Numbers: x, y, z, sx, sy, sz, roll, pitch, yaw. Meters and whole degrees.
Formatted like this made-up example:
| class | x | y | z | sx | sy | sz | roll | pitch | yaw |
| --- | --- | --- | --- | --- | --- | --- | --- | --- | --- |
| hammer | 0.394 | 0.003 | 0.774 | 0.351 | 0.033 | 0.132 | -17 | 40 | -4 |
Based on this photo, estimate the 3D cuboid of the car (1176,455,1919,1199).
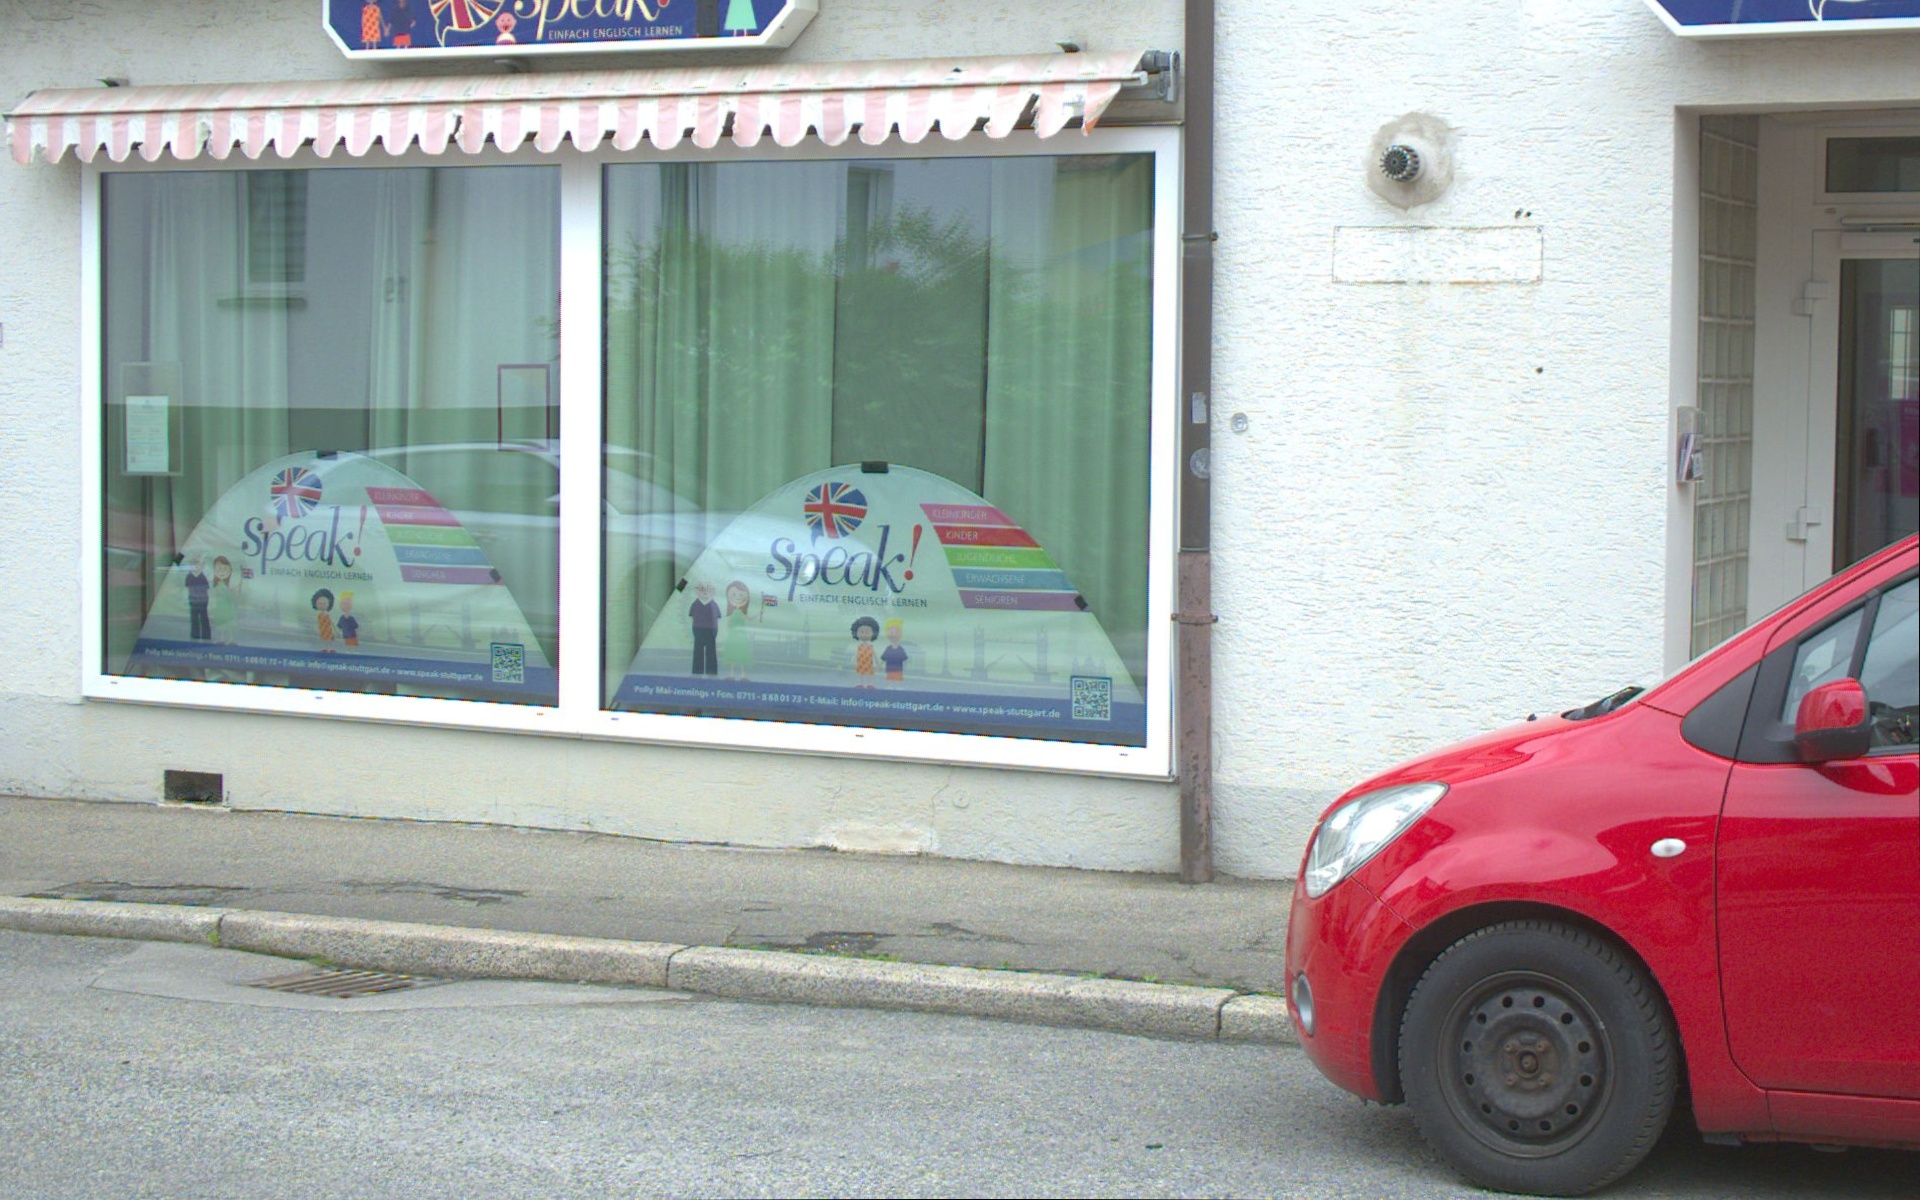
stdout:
| class | x | y | z | sx | sy | sz | roll | pitch | yaw |
| --- | --- | --- | --- | --- | --- | --- | --- | --- | --- |
| car | 2.504 | 0.503 | 7.298 | 3.689 | 1.551 | 1.694 | 2 | 1 | 29 |
